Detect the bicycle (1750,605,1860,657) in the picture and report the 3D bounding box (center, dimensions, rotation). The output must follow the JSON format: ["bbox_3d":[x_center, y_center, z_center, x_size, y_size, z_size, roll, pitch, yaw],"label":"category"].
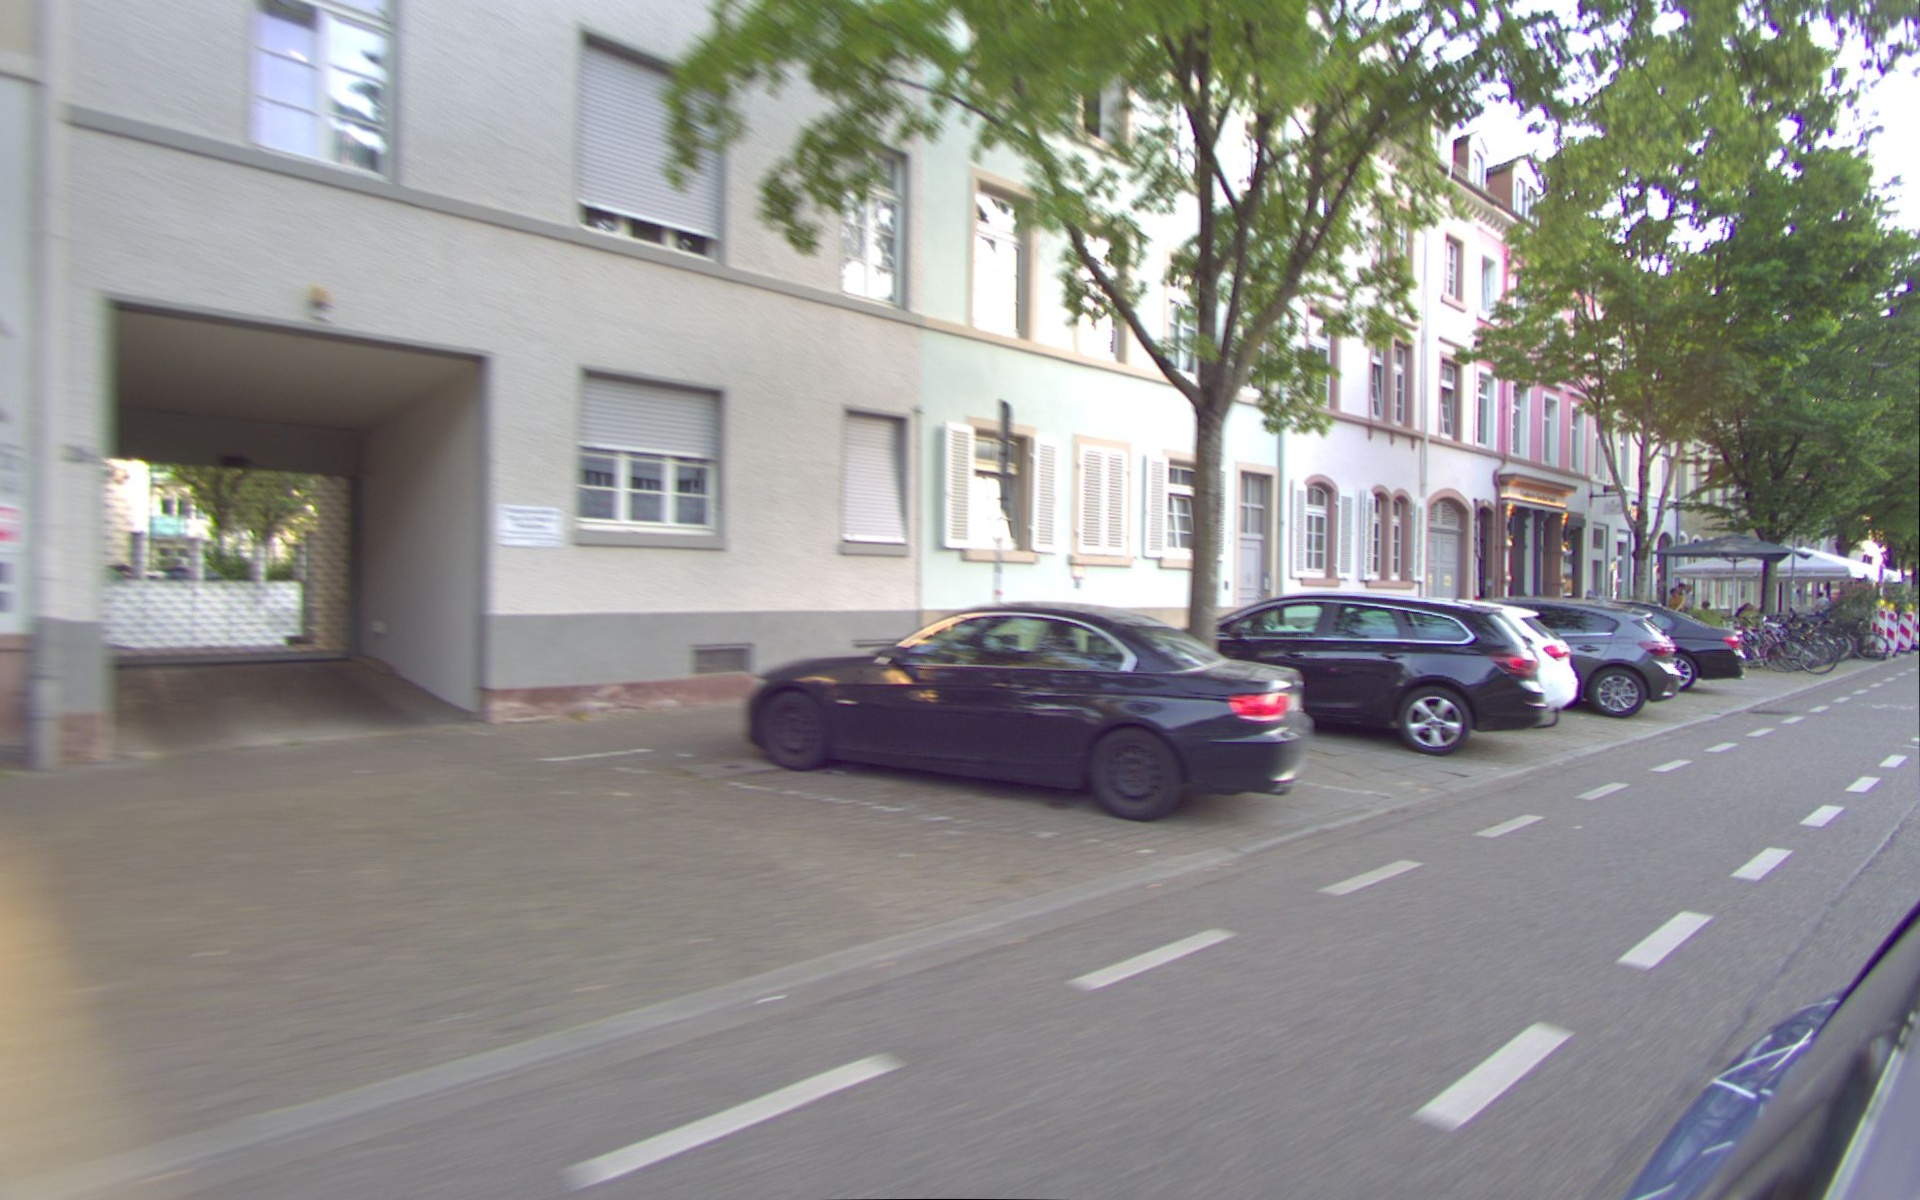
[{"bbox_3d":[19.977,0.711,23.967,0.598,1.044,1.890,0,4,-42],"label":"bicycle"}]

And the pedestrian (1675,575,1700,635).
[{"bbox_3d":[21.982,0.156,30.589,0.548,1.785,0.843,0,0,32],"label":"pedestrian"}]

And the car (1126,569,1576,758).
[{"bbox_3d":[4.075,0.523,10.916,4.088,1.488,1.998,4,3,25],"label":"car"}]

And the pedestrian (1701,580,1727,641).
[{"bbox_3d":[22.592,0.298,30.341,0.548,1.785,0.707,1,0,32],"label":"pedestrian"}]

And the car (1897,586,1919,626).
[{"bbox_3d":[43.645,0.399,43.653,4.652,1.708,1.976,5,3,44],"label":"car"}]

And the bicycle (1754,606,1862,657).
[{"bbox_3d":[20.479,0.735,24.463,0.598,1.044,1.890,0,4,-42],"label":"bicycle"}]

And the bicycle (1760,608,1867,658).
[{"bbox_3d":[20.977,0.795,24.908,0.598,1.044,1.890,0,4,-42],"label":"bicycle"}]

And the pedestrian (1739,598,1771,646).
[{"bbox_3d":[22.538,0.616,28.686,0.494,1.308,0.599,0,1,-38],"label":"pedestrian"}]

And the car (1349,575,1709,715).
[{"bbox_3d":[7.839,0.514,14.268,4.097,1.488,1.804,4,3,31],"label":"car"}]

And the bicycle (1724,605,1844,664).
[{"bbox_3d":[17.965,0.724,22.103,0.663,1.080,1.890,0,4,-42],"label":"bicycle"}]

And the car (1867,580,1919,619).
[{"bbox_3d":[44.811,0.069,46.321,1.973,1.708,4.658,1,3,-41],"label":"car"}]

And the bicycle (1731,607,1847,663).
[{"bbox_3d":[18.467,0.755,22.578,0.598,1.044,1.890,0,4,-42],"label":"bicycle"}]

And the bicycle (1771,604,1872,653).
[{"bbox_3d":[21.601,0.698,25.391,0.598,1.044,1.819,0,4,-42],"label":"bicycle"}]

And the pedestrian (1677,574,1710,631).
[{"bbox_3d":[23.421,0.066,32.312,0.696,1.785,0.710,0,0,22],"label":"pedestrian"}]

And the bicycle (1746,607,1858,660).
[{"bbox_3d":[19.517,0.755,23.493,0.598,1.044,1.890,0,4,-42],"label":"bicycle"}]

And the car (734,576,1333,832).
[{"bbox_3d":[0.552,0.578,7.890,4.222,1.409,1.998,2,2,26],"label":"car"}]

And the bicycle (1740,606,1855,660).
[{"bbox_3d":[18.991,0.727,22.980,0.598,1.044,1.890,0,4,-42],"label":"bicycle"}]

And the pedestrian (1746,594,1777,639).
[{"bbox_3d":[24.275,0.485,30.654,0.546,1.322,0.710,1,0,22],"label":"pedestrian"}]

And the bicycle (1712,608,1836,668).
[{"bbox_3d":[17.049,0.776,21.239,0.524,1.044,1.907,0,4,-42],"label":"bicycle"}]

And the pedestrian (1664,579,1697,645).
[{"bbox_3d":[19.885,0.331,27.936,0.878,1.785,0.551,0,0,-41],"label":"pedestrian"}]

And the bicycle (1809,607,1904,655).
[{"bbox_3d":[22.504,0.761,25.431,0.547,1.044,1.682,0,4,-42],"label":"bicycle"}]

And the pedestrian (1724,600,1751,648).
[{"bbox_3d":[21.457,0.658,27.926,0.590,1.308,0.503,0,0,-43],"label":"pedestrian"}]

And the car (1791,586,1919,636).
[{"bbox_3d":[32.098,0.376,35.662,3.932,1.572,1.692,3,2,24],"label":"car"}]

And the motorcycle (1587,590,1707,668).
[{"bbox_3d":[13.248,0.534,19.558,0.524,1.360,1.789,0,3,-42],"label":"motorcycle"}]

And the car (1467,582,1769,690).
[{"bbox_3d":[11.235,0.529,17.632,4.143,1.444,1.804,4,3,31],"label":"car"}]

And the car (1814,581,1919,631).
[{"bbox_3d":[37.786,0.244,41.195,4.111,1.829,1.994,3,2,21],"label":"car"}]

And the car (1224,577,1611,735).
[{"bbox_3d":[5.624,0.574,12.832,4.088,1.488,1.970,4,3,25],"label":"car"}]

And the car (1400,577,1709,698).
[{"bbox_3d":[9.321,0.489,16.085,3.935,1.488,1.978,5,3,33],"label":"car"}]

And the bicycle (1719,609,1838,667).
[{"bbox_3d":[17.486,0.780,21.666,0.581,1.044,1.866,0,4,-43],"label":"bicycle"}]
